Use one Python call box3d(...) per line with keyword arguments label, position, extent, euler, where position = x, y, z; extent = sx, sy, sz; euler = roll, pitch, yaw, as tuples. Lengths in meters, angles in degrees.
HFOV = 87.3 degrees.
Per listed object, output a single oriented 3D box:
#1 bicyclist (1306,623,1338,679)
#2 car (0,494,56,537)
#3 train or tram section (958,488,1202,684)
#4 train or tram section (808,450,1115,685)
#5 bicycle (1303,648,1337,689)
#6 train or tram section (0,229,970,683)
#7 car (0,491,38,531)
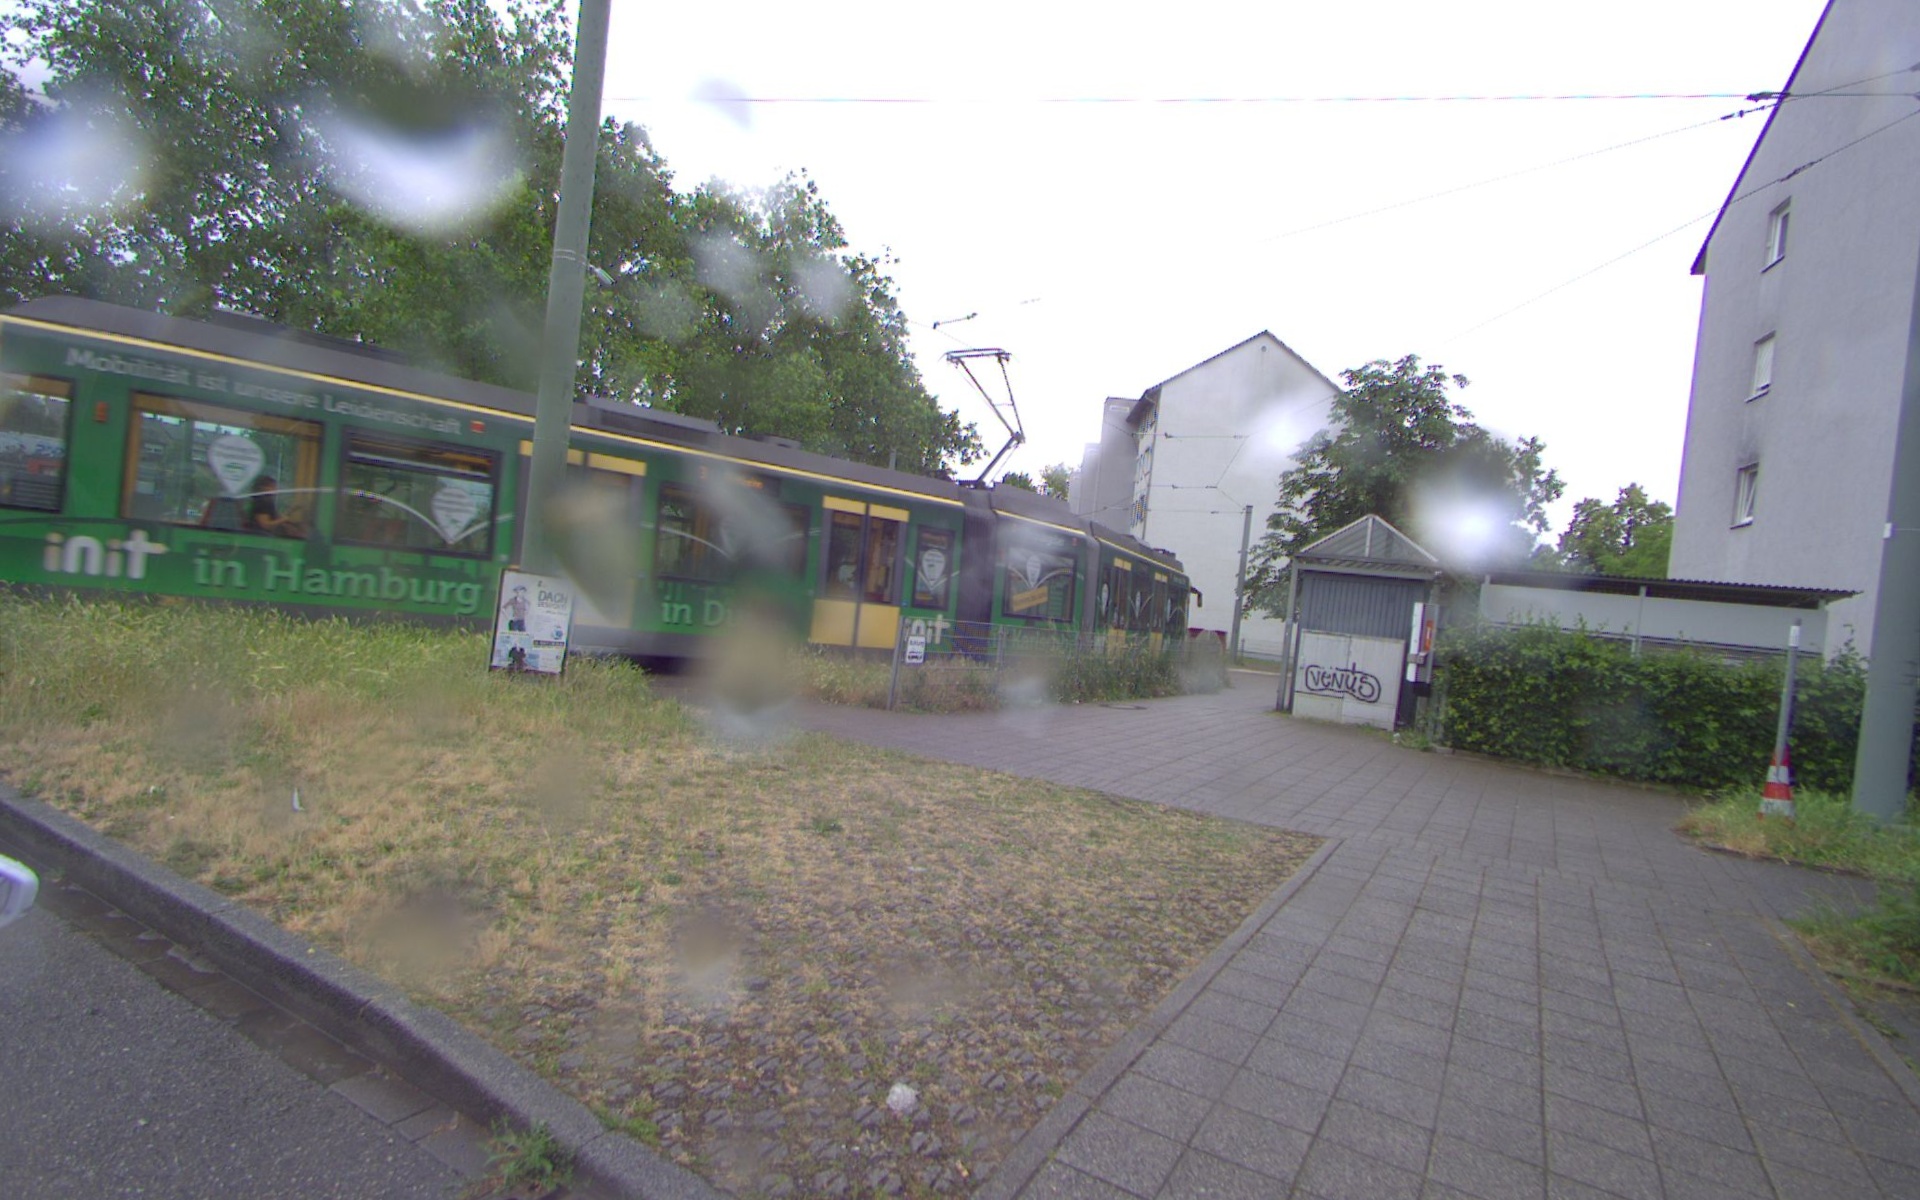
box3d(label="bicyclist", position=(10.457, 1.478, 29.031), extent=(0.626, 1.491, 1.108), euler=(6, -2, 26))
box3d(label="car", position=(-46.575, -4.238, 48.714), extent=(1.859, 1.720, 3.691), euler=(6, -2, 32))
box3d(label="train or tram section", position=(3.652, -0.035, 25.394), extent=(2.719, 3.597, 12.199), euler=(6, 0, 22))
box3d(label="train or tram section", position=(0.171, -0.454, 18.312), extent=(2.731, 3.598, 4.963), euler=(7, 1, 41))
box3d(label="bicycle", position=(10.425, 1.990, 29.084), extent=(0.589, 1.080, 2.030), euler=(6, 0, 26))
box3d(label="train or tram section", position=(-5.904, -1.156, 12.953), extent=(13.024, 3.597, 2.740), euler=(7, 0, -39))
box3d(label="car", position=(-54.719, -5.233, 56.341), extent=(1.966, 1.973, 3.997), euler=(6, -2, 30))
